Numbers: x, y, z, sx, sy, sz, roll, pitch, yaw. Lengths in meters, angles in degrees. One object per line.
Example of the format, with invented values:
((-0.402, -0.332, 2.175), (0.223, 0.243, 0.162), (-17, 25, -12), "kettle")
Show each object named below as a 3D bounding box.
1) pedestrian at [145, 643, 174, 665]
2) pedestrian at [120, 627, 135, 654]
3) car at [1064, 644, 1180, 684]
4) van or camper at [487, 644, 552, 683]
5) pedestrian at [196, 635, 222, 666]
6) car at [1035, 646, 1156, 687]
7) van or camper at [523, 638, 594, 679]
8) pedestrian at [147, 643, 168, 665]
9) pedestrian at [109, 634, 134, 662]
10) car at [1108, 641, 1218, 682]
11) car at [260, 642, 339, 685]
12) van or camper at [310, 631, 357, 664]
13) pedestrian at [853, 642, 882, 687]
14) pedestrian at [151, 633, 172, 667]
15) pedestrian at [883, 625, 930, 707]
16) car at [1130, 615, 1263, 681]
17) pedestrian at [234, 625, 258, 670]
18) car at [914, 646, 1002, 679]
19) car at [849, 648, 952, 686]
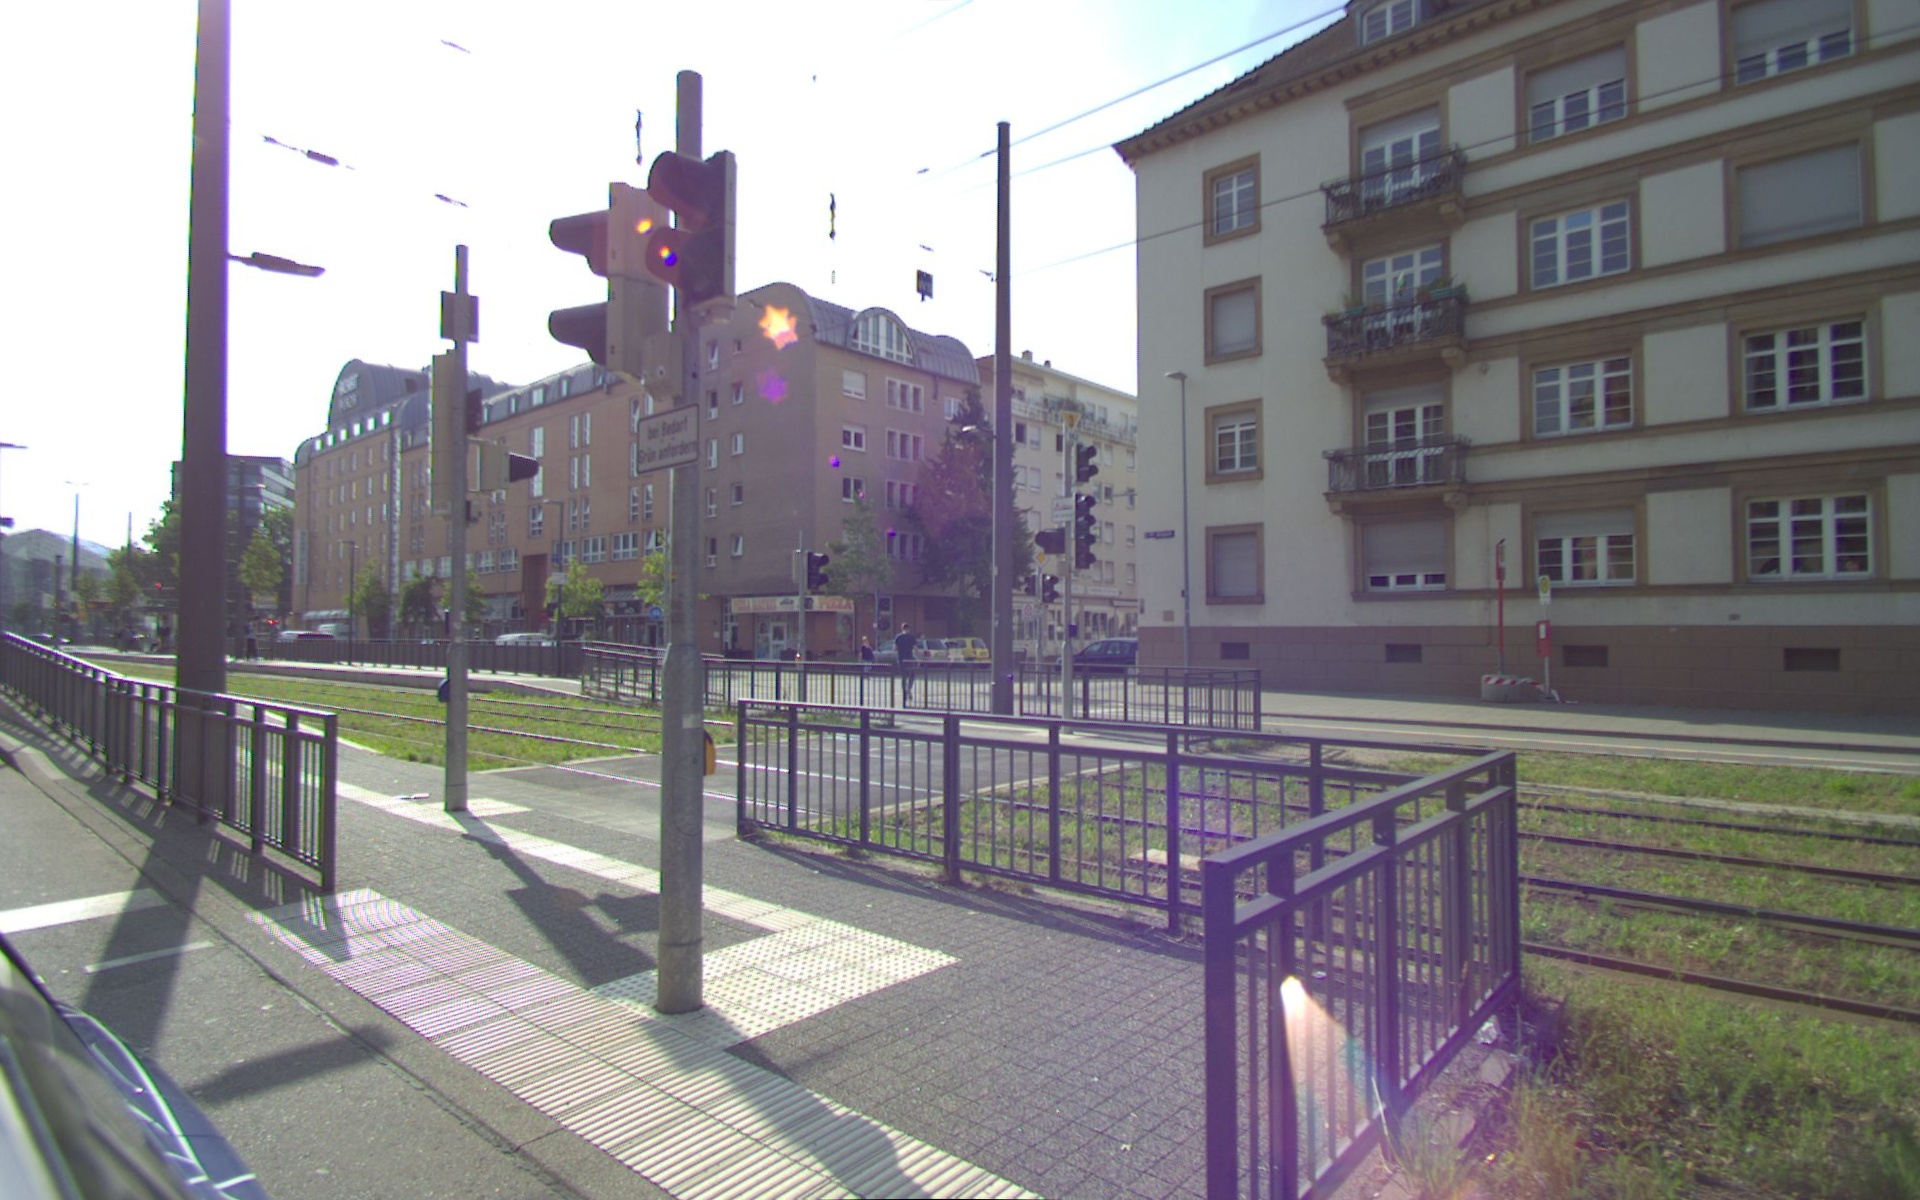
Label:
((-46.253, 3.116, 58.479), (0.675, 1.255, 1.141), (-2, -4, 40), "pedestrian")
((-55.599, 2.675, 67.609), (0.698, 1.774, 0.644), (-2, 0, 42), "pedestrian")
((6.026, 2.345, 37.821), (3.992, 1.416, 1.658), (-2, -3, 36), "car")
((-23.964, 3.397, 55.015), (1.970, 2.029, 4.003), (2, -3, -44), "van or camper")
((-37.837, 2.544, 50.983), (0.803, 1.542, 0.676), (-1, -2, 10), "pedestrian")
((4.786, 2.323, 35.910), (3.991, 1.364, 1.566), (-2, -3, 35), "car")
((-20.307, 2.904, 51.135), (1.907, 1.983, 4.003), (2, -3, -44), "van or camper")
((-46.780, 3.144, 58.992), (0.675, 1.255, 0.783), (-2, -4, 40), "pedestrian")
((-52.185, 2.987, 63.005), (0.824, 1.760, 0.784), (1, -3, 5), "pedestrian")
((8.009, 2.401, 40.029), (3.918, 1.544, 1.658), (-2, -3, 36), "car")
((-33.019, 3.142, 50.550), (4.928, 2.029, 1.973), (-2, -3, 40), "car")
((-54.169, 4.076, 87.446), (5.351, 2.823, 1.972), (-2, -3, 42), "van or camper")
((-3.334, 2.317, 36.584), (0.807, 1.595, 0.671), (-2, -3, 38), "pedestrian")
((-44.407, 2.768, 56.260), (0.555, 1.901, 0.796), (-2, -3, 43), "pedestrian")
((-1.257, 1.532, 23.880), (0.856, 1.882, 1.066), (-1, -2, 14), "pedestrian")
((9.854, 1.995, 42.320), (5.041, 2.603, 1.977), (-2, -3, 34), "car")
((-30.772, 2.047, 43.629), (0.729, 1.886, 0.941), (2, -3, -40), "pedestrian")
((-0.115, 3.026, 49.655), (3.995, 1.519, 1.974), (-2, -3, 39), "car")
((-2.676, 2.950, 45.106), (4.548, 1.612, 1.747), (-2, -3, 37), "car")
